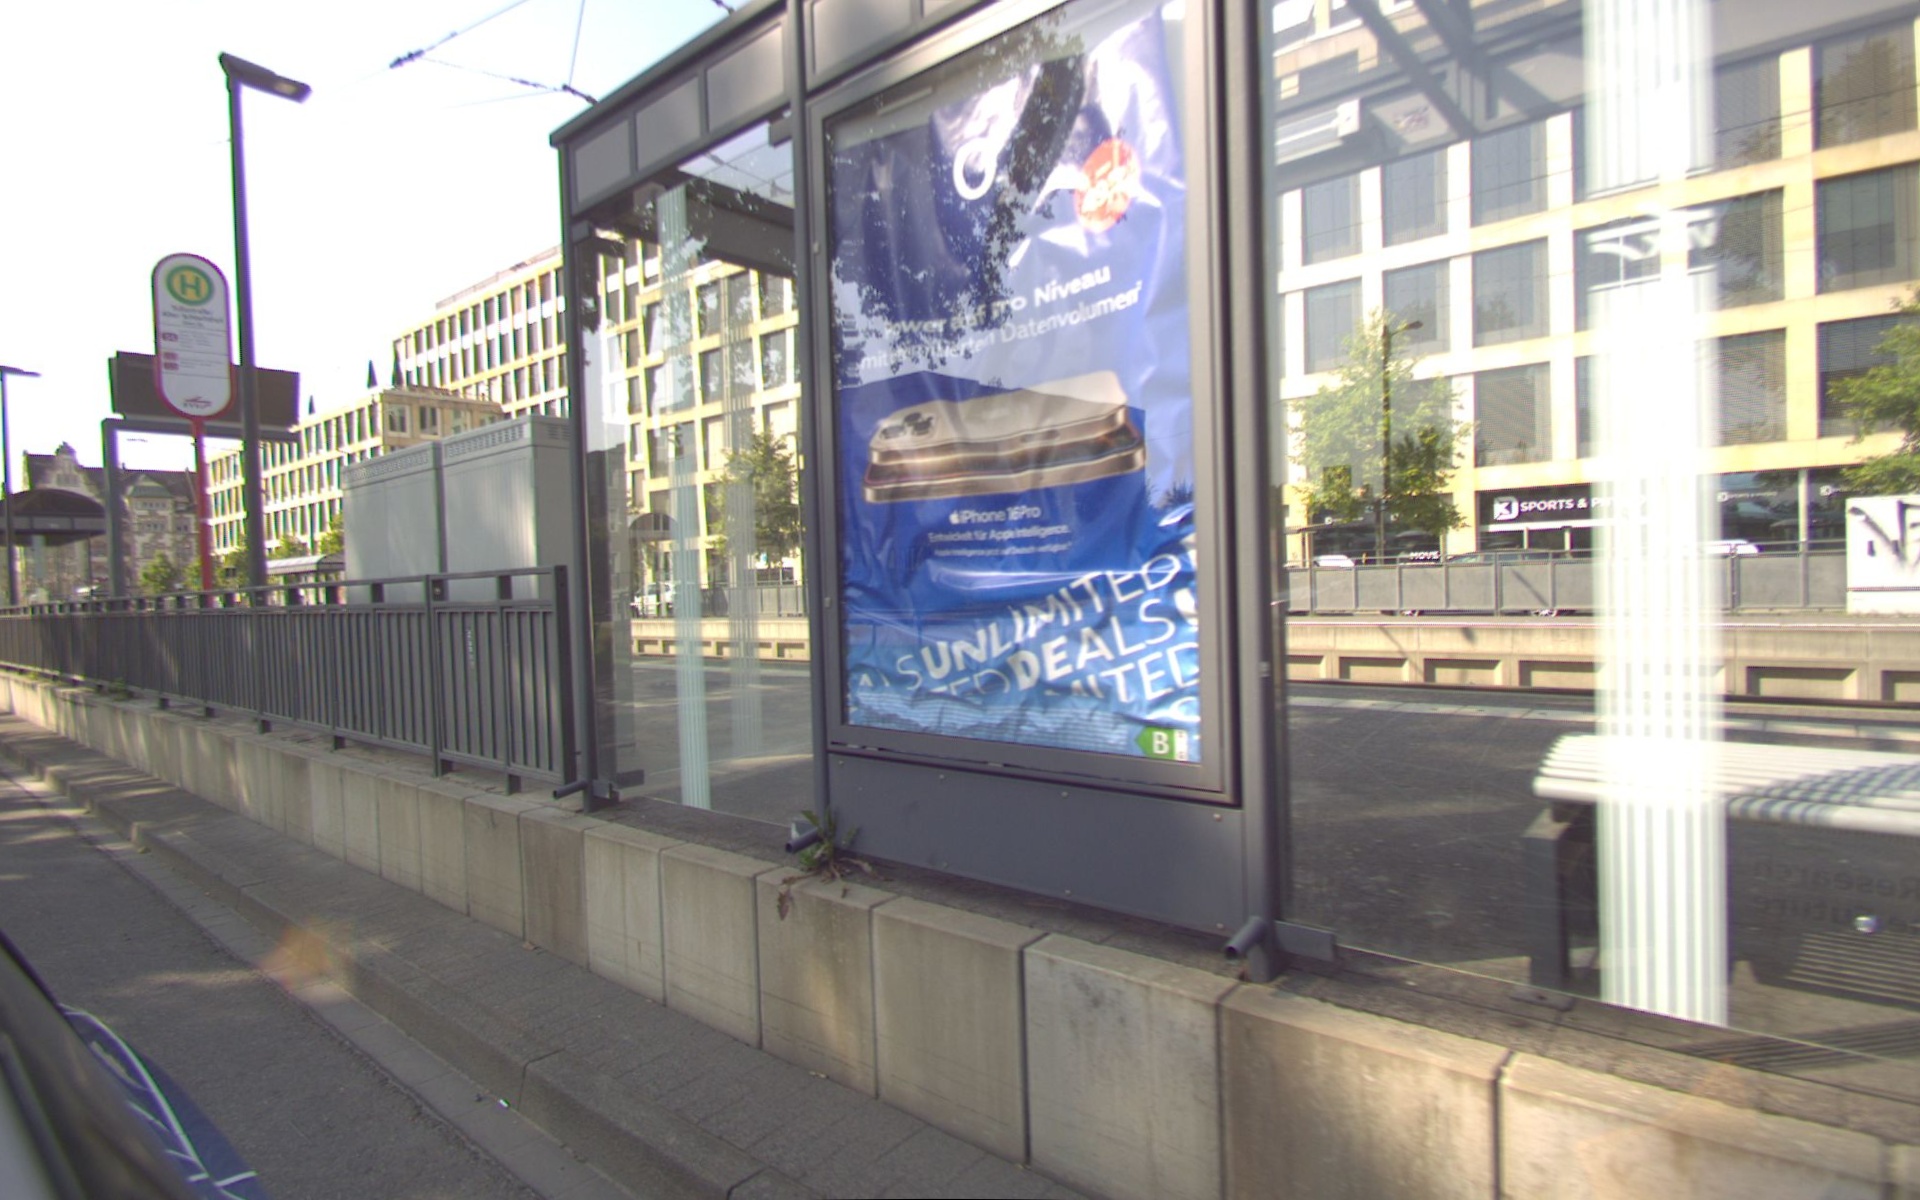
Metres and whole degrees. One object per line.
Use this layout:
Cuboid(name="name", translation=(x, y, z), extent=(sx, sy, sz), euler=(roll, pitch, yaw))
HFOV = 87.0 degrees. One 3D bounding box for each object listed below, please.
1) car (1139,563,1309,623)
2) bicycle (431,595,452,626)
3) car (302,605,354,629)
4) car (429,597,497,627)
Cuboid(name="car", translation=(6.973, -0.160, 26.914), extent=(4.003, 1.457, 1.694), euler=(-2, 0, 39))
Cuboid(name="bicycle", translation=(-19.876, 0.404, 38.796), extent=(0.465, 1.156, 1.487), euler=(-3, 1, -35))
Cuboid(name="car", translation=(-42.988, 1.156, 68.806), extent=(4.127, 1.546, 1.746), euler=(-2, 0, 39))
Cuboid(name="car", translation=(-27.511, 0.682, 55.976), extent=(4.127, 1.586, 1.746), euler=(-2, 0, 39))
